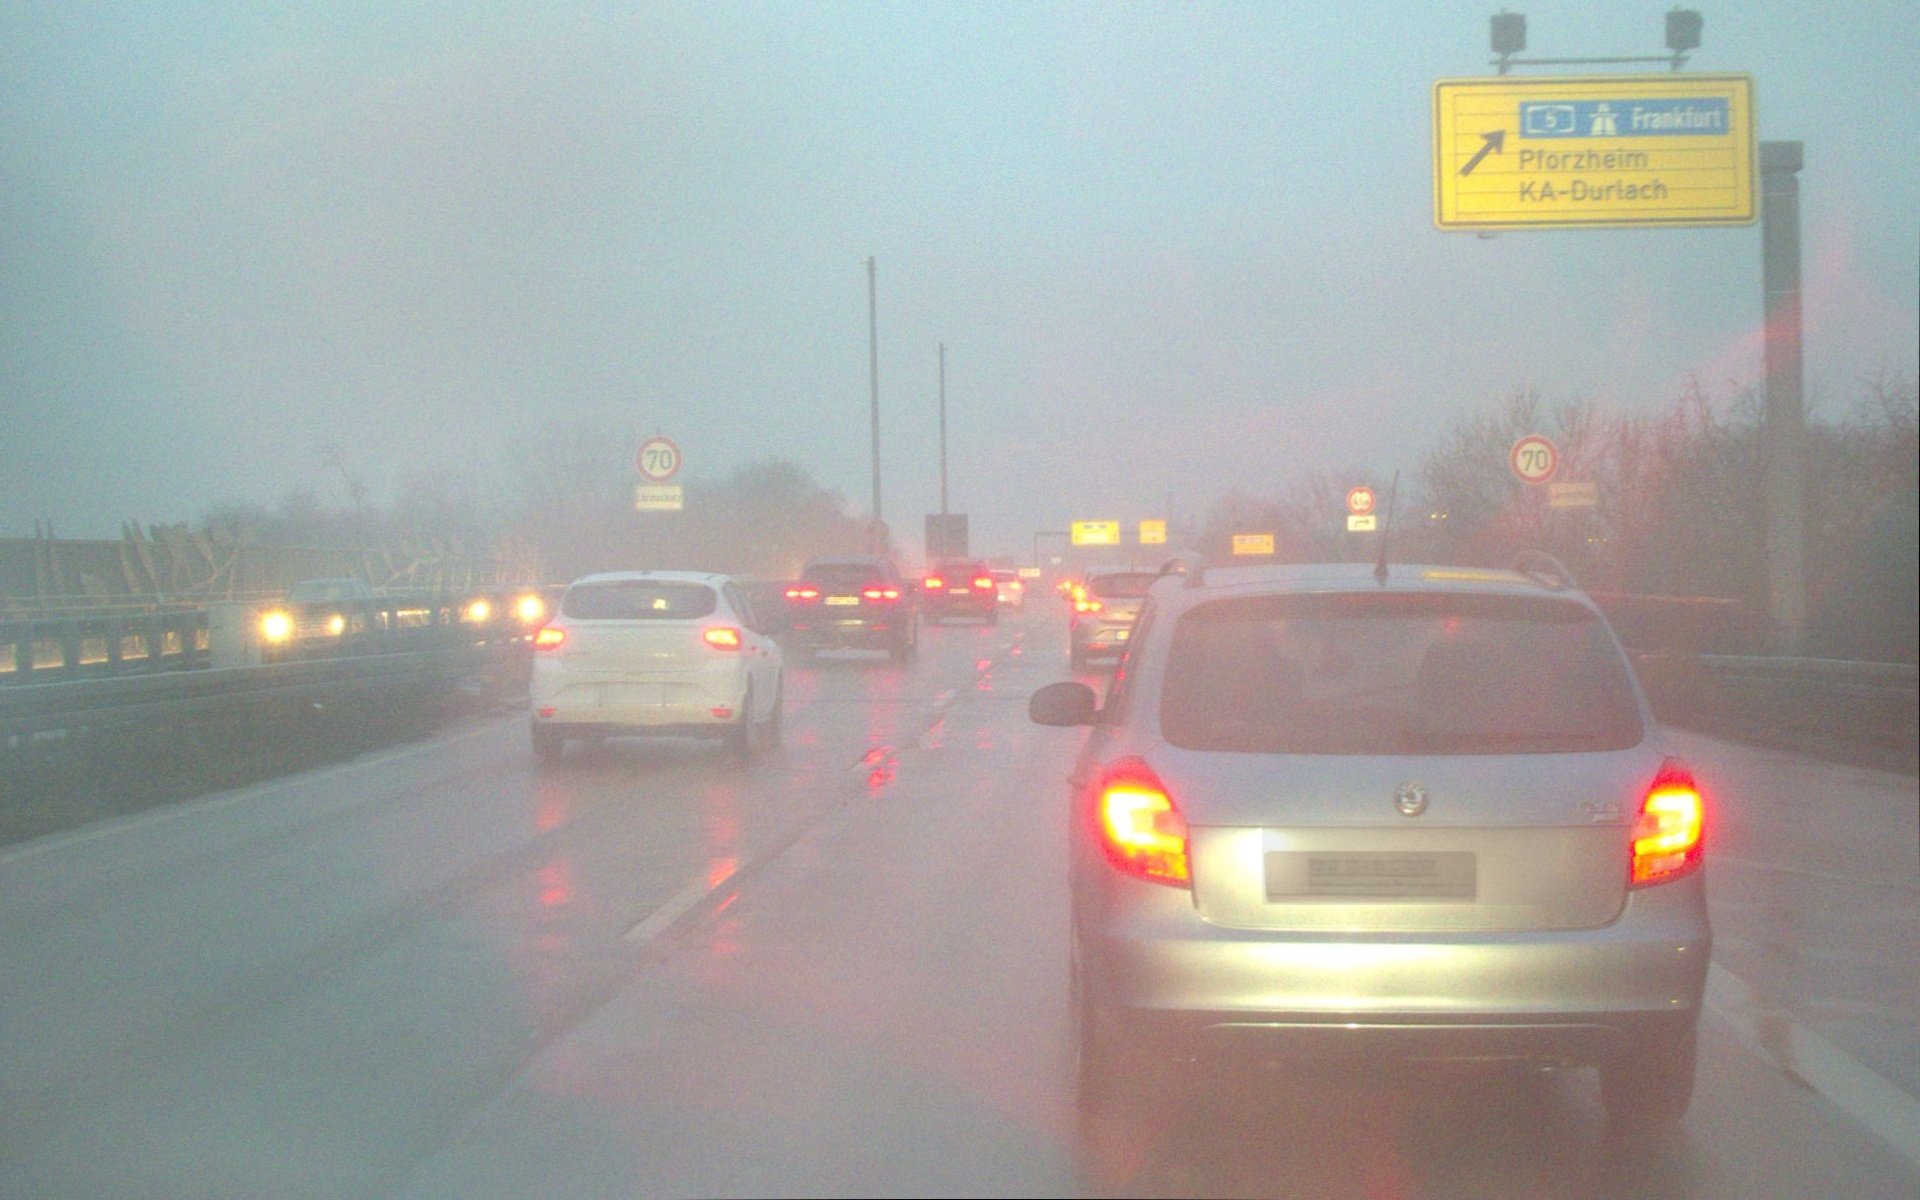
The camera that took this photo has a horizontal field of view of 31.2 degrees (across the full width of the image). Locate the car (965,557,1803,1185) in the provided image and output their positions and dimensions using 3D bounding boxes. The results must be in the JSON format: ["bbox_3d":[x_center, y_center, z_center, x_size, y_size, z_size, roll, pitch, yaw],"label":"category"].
[{"bbox_3d":[1.104,0.641,10.369,1.994,1.495,4.137,-1,0,2],"label":"car"}]

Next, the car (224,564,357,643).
[{"bbox_3d":[-13.842,0.046,71.337,1.786,1.559,4.851,-1,1,0],"label":"car"}]

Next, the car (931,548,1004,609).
[{"bbox_3d":[0.206,-0.583,89.114,1.789,1.540,4.000,0,1,2],"label":"car"}]

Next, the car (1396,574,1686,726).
[{"bbox_3d":[5.564,0.440,33.422,1.993,1.341,4.000,0,1,-2],"label":"car"}]

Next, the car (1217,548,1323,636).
[{"bbox_3d":[5.699,-0.170,63.550,1.789,1.540,4.000,-1,1,3],"label":"car"}]

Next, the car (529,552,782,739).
[{"bbox_3d":[-2.469,0.325,28.729,1.724,1.435,4.226,0,1,0],"label":"car"}]

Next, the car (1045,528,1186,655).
[{"bbox_3d":[2.217,-0.153,49.998,1.897,1.761,4.308,0,1,1],"label":"car"}]

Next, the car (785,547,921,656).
[{"bbox_3d":[-1.687,-0.005,53.402,1.993,1.596,4.309,1,1,-2],"label":"car"}]
